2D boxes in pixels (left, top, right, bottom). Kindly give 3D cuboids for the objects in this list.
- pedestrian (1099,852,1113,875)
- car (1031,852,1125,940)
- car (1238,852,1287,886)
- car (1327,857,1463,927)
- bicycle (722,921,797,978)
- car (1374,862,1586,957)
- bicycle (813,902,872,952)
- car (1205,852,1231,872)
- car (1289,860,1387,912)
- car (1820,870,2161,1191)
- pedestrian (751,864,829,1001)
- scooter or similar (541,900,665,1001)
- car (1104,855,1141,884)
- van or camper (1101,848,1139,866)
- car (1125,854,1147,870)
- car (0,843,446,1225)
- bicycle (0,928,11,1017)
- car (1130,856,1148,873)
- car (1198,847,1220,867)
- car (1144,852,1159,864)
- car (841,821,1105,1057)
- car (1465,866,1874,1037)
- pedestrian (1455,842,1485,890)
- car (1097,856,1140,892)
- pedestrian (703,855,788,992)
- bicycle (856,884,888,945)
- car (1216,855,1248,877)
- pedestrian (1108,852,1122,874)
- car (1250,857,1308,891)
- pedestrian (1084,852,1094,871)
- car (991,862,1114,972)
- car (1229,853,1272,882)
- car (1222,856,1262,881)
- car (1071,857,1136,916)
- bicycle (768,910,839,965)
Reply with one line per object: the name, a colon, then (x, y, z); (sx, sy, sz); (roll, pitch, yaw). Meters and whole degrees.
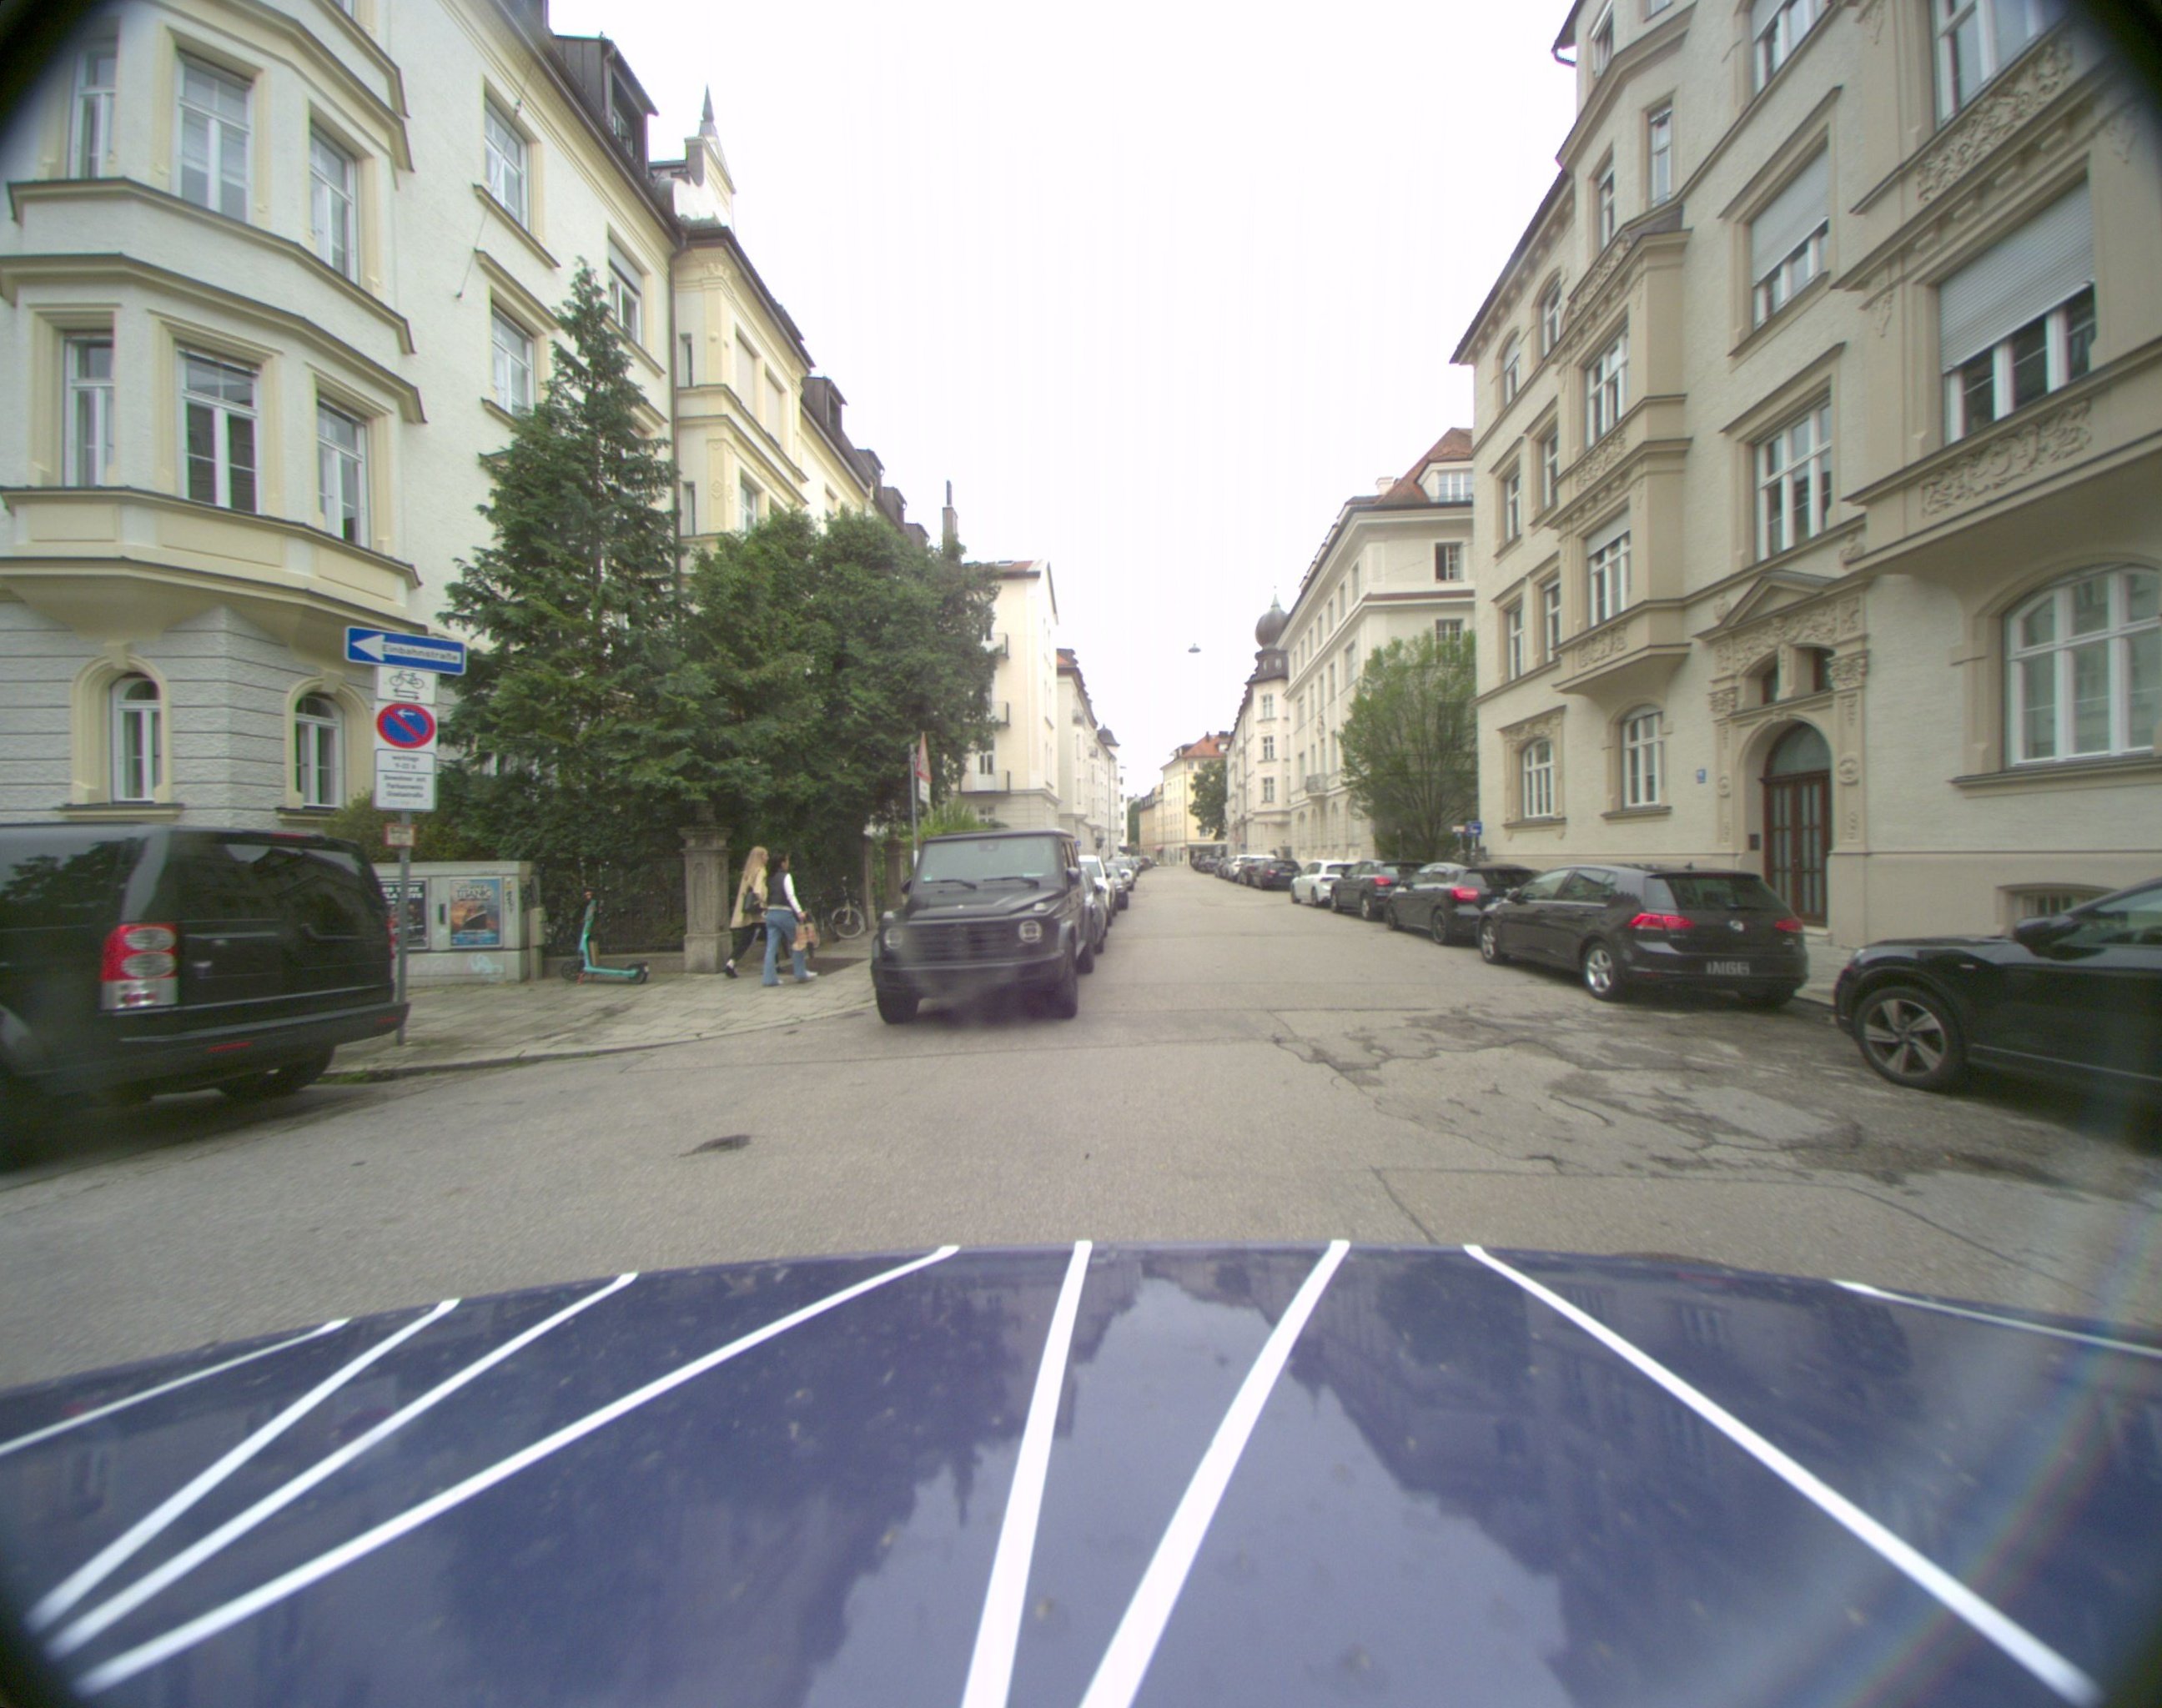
pedestrian: (1.993, 0.731, 59.833); (0.884, 1.801, 1.112); (-1, 0, 10)
car: (0.052, 0.901, 18.591); (1.726, 1.759, 4.414); (-4, 0, 6)
car: (9.261, 0.722, 39.080); (1.840, 1.609, 4.246); (-1, 0, 5)
car: (7.703, 0.849, 19.123); (1.774, 1.509, 4.386); (2, 0, 3)
bicycle: (-4.652, 1.370, 11.061); (0.514, 0.679, 1.123); (-1, 0, 6)
car: (7.126, 0.897, 14.194); (1.837, 1.425, 4.555); (1, 0, 4)
bicycle: (-4.314, 1.305, 13.819); (0.514, 0.777, 1.355); (-1, 0, 6)
car: (11.729, 0.685, 65.401); (1.730, 1.609, 4.122); (1, 0, 4)
car: (7.867, 0.933, 23.641); (1.840, 1.425, 4.246); (1, 0, 4)
car: (6.050, 0.885, 3.423); (1.757, 1.491, 4.020); (1, 0, 6)
pedestrian: (-3.600, 0.940, 9.448); (0.688, 1.619, 0.708); (1, 1, 1)
scooter or similar: (-5.889, 1.176, 9.380); (1.349, 1.183, 0.371); (0, 1, 8)
car: (2.599, 0.905, 46.497); (1.826, 1.560, 4.403); (-4, -1, 7)
van or camper: (6.265, 0.495, 121.520); (5.867, 2.697, 2.305); (-1, -2, -1)
car: (5.128, 0.746, 71.558); (1.841, 1.391, 4.975); (-3, -1, 2)
car: (-7.104, 0.960, 4.799); (4.541, 1.938, 1.904); (-1, -1, -1)
bicycle: (-14.570, 1.505, 9.166); (2.412, 1.099, 0.538); (-2, 1, -2)
car: (6.171, 1.089, 80.390); (1.804, 1.665, 4.191); (-4, 0, 5)
car: (12.889, 0.317, 76.762); (1.840, 1.883, 4.765); (1, 0, 5)
car: (9.864, 0.586, 106.454); (1.840, 1.609, 4.097); (-4, -1, 7)
car: (-0.864, 0.770, 8.809); (1.955, 1.942, 4.668); (-3, -1, 5)
car: (6.418, 0.917, 9.049); (1.840, 1.427, 4.246); (2, 0, 6)
pedestrian: (13.359, 0.399, 26.105); (0.674, 1.616, 0.631); (-1, 1, 3)
car: (1.824, 0.907, 35.835); (1.788, 1.495, 4.066); (-2, 0, 5)
pedestrian: (-4.386, 0.870, 9.938); (0.694, 1.693, 0.738); (2, 1, 34)
bicycle: (-4.113, 1.159, 15.026); (0.514, 1.088, 1.353); (-1, 0, -12)
car: (10.731, 0.842, 54.204); (1.796, 1.407, 4.280); (1, 1, 5)
pedestrian: (2.747, 0.728, 61.473); (0.884, 1.776, 1.112); (-1, 0, 16)
car: (8.841, 0.850, 34.249); (1.791, 1.404, 4.369); (-1, 0, 5)
pedestrian: (0.786, 0.749, 73.787); (0.885, 1.803, 1.111); (-1, 0, 6)
car: (-0.356, 0.982, 13.385); (1.727, 1.510, 3.631); (-4, 0, 4)
car: (9.812, 0.764, 44.391); (1.919, 1.609, 4.573); (-1, 0, 6)
car: (10.431, 0.921, 49.516); (1.787, 1.532, 4.258); (1, 0, 2)
car: (0.719, 0.945, 23.874); (1.754, 1.601, 4.424); (-3, -1, 2)
bicycle: (-4.496, 1.341, 12.389); (0.514, 0.730, 1.355); (-1, 0, 6)
